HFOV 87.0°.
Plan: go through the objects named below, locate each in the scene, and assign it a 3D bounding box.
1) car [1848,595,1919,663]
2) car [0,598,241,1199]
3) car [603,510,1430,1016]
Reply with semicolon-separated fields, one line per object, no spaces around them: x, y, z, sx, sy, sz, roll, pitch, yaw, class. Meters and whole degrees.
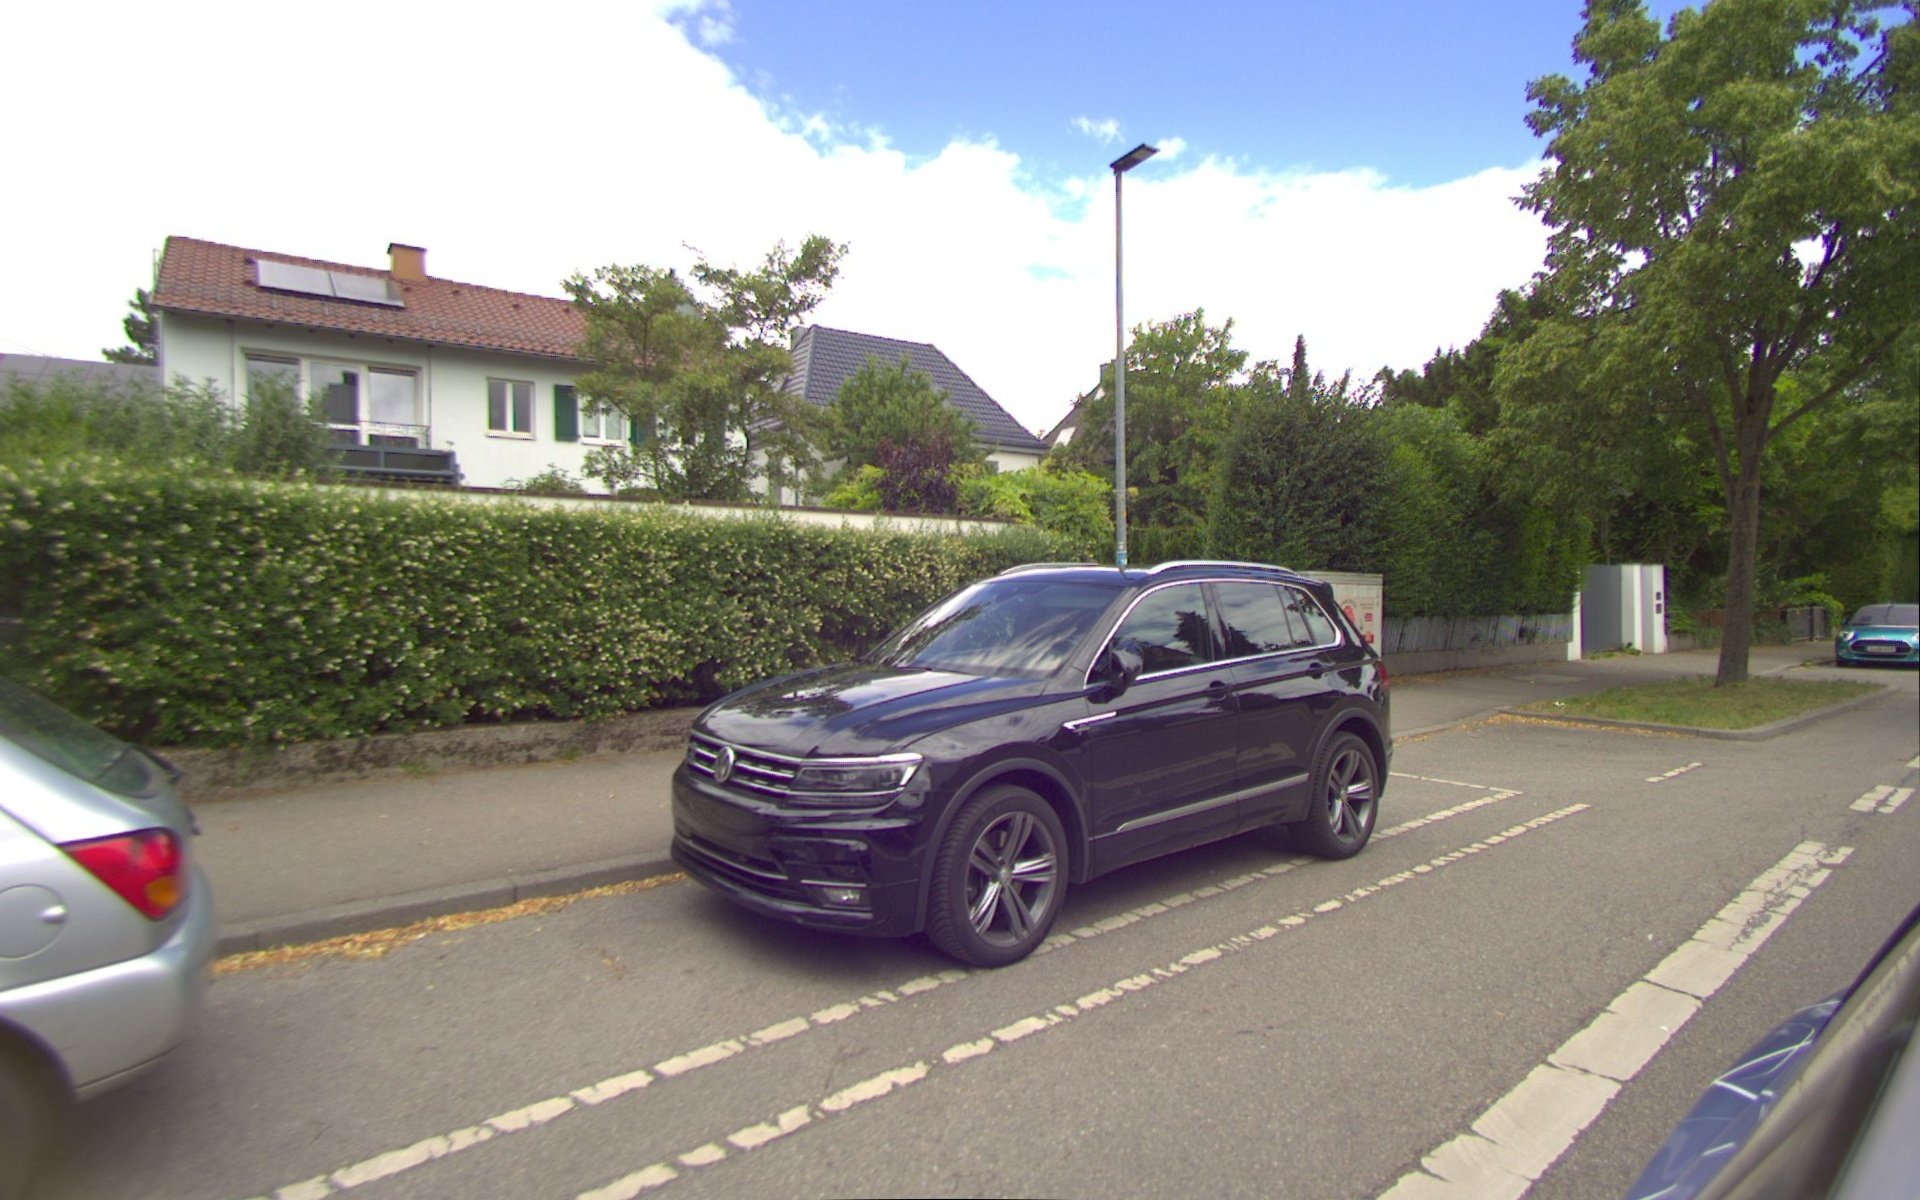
21.772;0.612;23.209;3.594;1.424;1.665;-1;1;-41;car
-3.513;0.696;1.824;3.478;1.368;1.560;0;1;-42;car
0.618;0.536;5.449;4.467;1.657;1.769;0;0;-40;car
